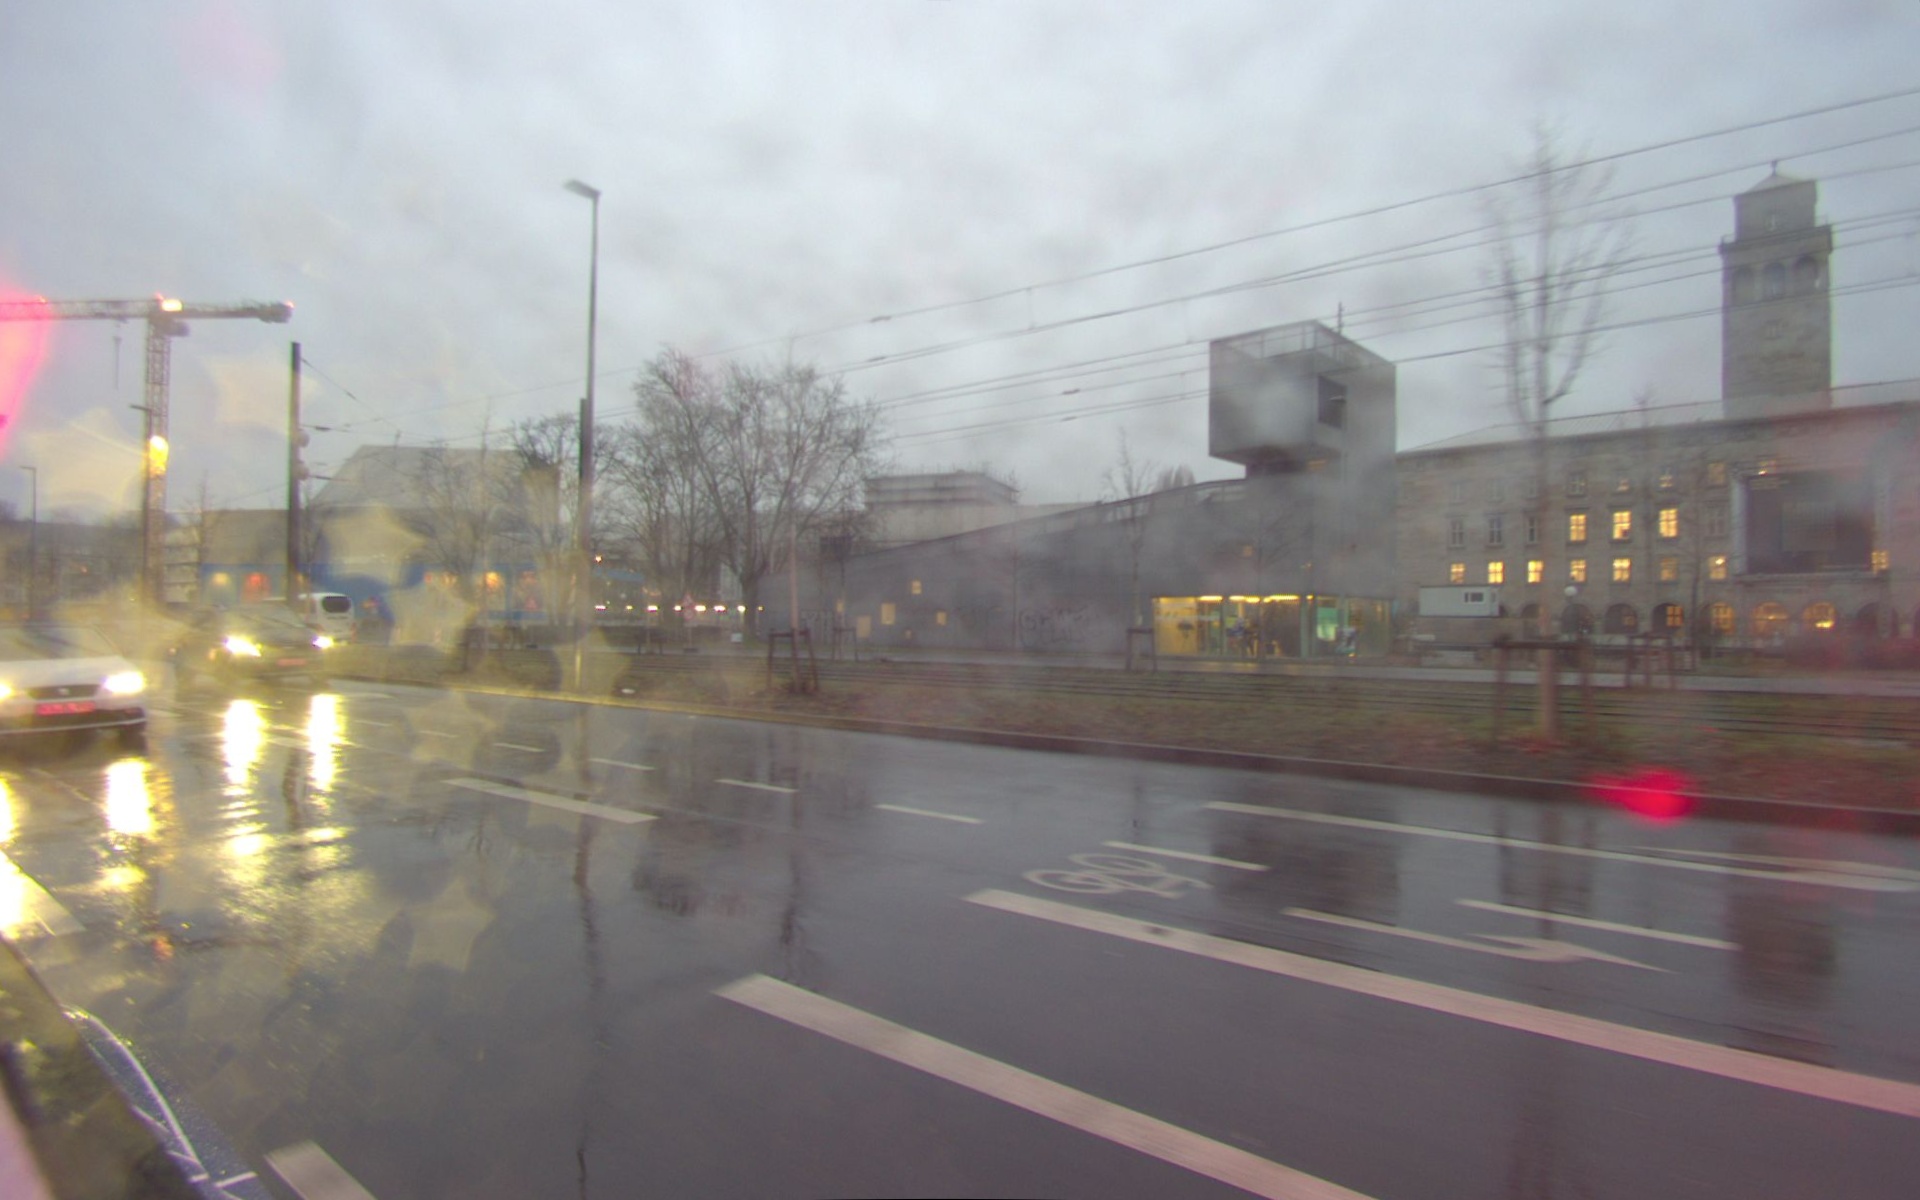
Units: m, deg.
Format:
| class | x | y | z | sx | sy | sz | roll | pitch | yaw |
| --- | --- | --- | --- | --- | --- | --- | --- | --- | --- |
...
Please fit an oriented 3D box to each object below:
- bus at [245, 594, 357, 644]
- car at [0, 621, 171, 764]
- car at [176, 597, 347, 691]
| class | x | y | z | sx | sy | sz | roll | pitch | yaw |
| --- | --- | --- | --- | --- | --- | --- | --- | --- | --- |
| bus | -50.397 | 1.457 | 77.188 | 12.278 | 3.605 | 2.782 | -1 | -2 | 35 |
| car | -11.287 | 1.009 | 12.301 | 4.125 | 1.486 | 1.756 | -1 | -2 | 39 |
| car | -14.555 | 0.873 | 20.987 | 4.607 | 1.756 | 1.686 | -1 | -2 | 39 |
